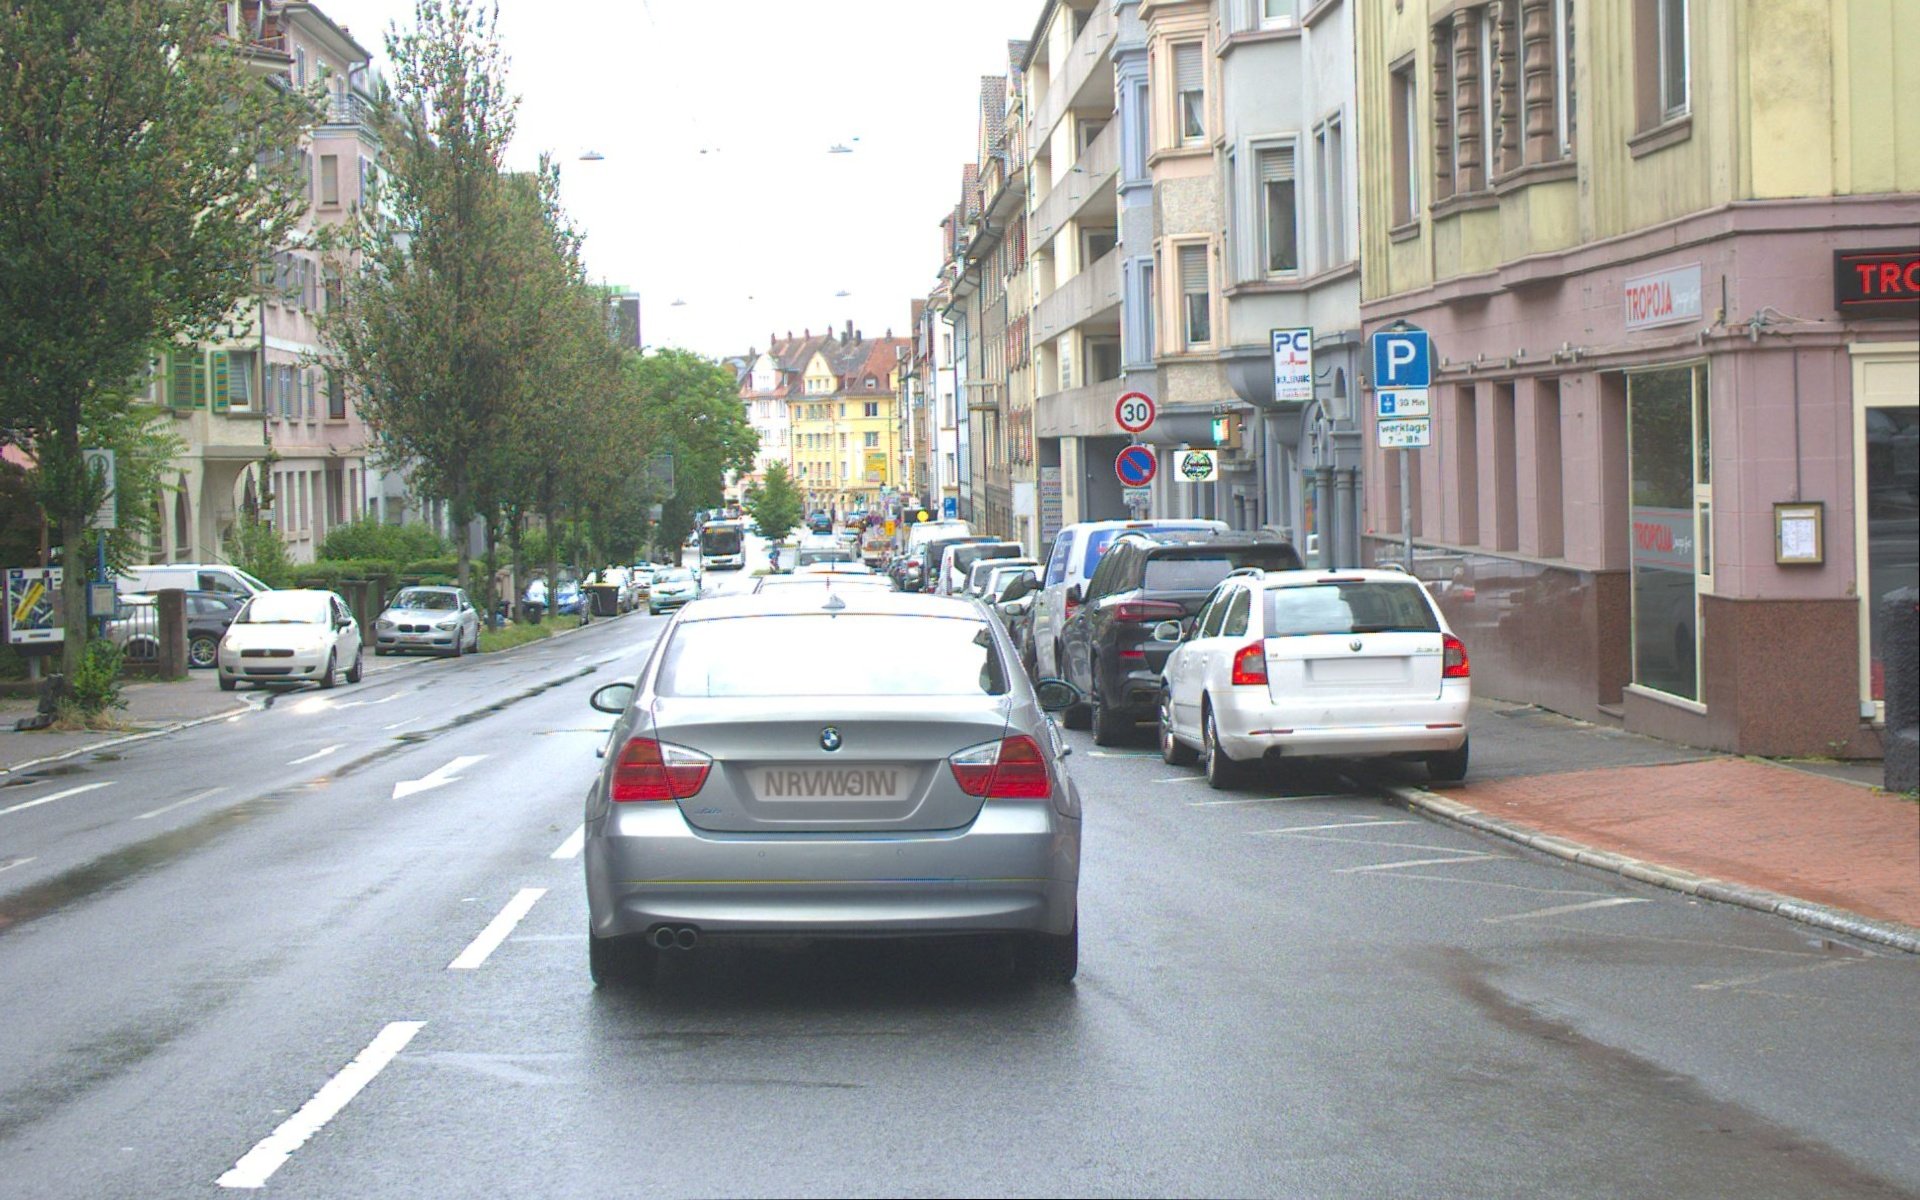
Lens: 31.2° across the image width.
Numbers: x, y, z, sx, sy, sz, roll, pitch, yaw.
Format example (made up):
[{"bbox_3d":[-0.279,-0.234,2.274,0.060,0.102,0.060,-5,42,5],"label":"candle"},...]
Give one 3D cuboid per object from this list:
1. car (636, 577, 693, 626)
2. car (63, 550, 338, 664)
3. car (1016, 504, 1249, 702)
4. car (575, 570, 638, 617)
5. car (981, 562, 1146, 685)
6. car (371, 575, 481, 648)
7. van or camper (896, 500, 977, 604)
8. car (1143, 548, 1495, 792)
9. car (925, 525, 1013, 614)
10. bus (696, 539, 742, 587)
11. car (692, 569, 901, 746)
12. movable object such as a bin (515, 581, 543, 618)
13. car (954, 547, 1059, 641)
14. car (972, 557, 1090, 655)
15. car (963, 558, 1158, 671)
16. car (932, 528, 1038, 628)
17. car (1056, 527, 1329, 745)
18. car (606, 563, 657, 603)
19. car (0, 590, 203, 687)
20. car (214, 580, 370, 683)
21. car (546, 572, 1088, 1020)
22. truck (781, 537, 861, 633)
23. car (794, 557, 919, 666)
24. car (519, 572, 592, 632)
[{"bbox_3d":[-10.046,0.047,117.017,1.636,1.503,3.755,-4,0,-2],"label":"car"},{"bbox_3d":[-14.649,0.127,66.512,4.828,1.967,2.048,-2,0,-2],"label":"car"},{"bbox_3d":[1.710,0.017,35.730,1.919,1.821,5.009,-3,0,-2],"label":"car"},{"bbox_3d":[-12.536,-0.242,122.004,1.827,1.518,3.736,-3,1,-1],"label":"car"},{"bbox_3d":[1.187,0.252,41.021,1.677,1.370,4.276,-1,0,-2],"label":"car"},{"bbox_3d":[-11.115,0.238,71.760,1.726,1.479,3.989,1,0,-1],"label":"car"},{"bbox_3d":[-0.635,-1.362,99.178,2.033,2.859,6.885,1,0,2],"label":"van or camper"},{"bbox_3d":[2.426,0.439,24.311,1.798,1.559,4.493,0,0,-3],"label":"car"},{"bbox_3d":[0.199,-0.779,88.680,1.982,2.158,4.750,-3,0,-2],"label":"car"},{"bbox_3d":[-16.066,-2.462,229.466,2.668,3.014,7.671,-3,0,-2],"label":"bus"},{"bbox_3d":[-1.351,0.463,29.604,1.681,1.423,3.741,0,0,-1],"label":"car"},{"bbox_3d":[-11.024,-0.019,87.920,0.574,0.909,0.640,-3,0,-16],"label":"movable object such as a bin"},{"bbox_3d":[0.876,-0.127,67.047,1.726,1.664,4.289,-4,0,-2],"label":"car"},{"bbox_3d":[1.074,0.083,53.724,1.611,1.469,4.016,0,0,-2],"label":"car"},{"bbox_3d":[1.316,0.187,47.119,1.875,1.462,4.776,0,0,-8],"label":"car"},{"bbox_3d":[0.500,-0.470,74.011,1.982,2.000,4.625,-3,0,-2],"label":"car"},{"bbox_3d":[1.913,0.277,29.631,1.878,1.725,4.677,0,0,-2],"label":"car"},{"bbox_3d":[-13.574,-0.722,142.155,1.690,1.518,3.736,-3,1,-1],"label":"car"},{"bbox_3d":[-14.890,0.657,58.213,3.880,1.452,1.792,-3,0,-9],"label":"car"},{"bbox_3d":[-10.080,0.449,52.112,1.621,1.441,4.005,-2,0,-1],"label":"car"},{"bbox_3d":[-0.490,0.625,13.114,1.769,1.423,3.741,0,1,-1],"label":"car"},{"bbox_3d":[-3.625,-0.375,89.296,2.031,2.404,4.827,0,0,-3],"label":"truck"},{"bbox_3d":[-1.500,0.163,48.602,1.697,1.478,3.794,0,0,-3],"label":"car"},{"bbox_3d":[-11.766,0.047,100.158,1.766,1.588,4.000,-4,1,-3],"label":"car"}]
